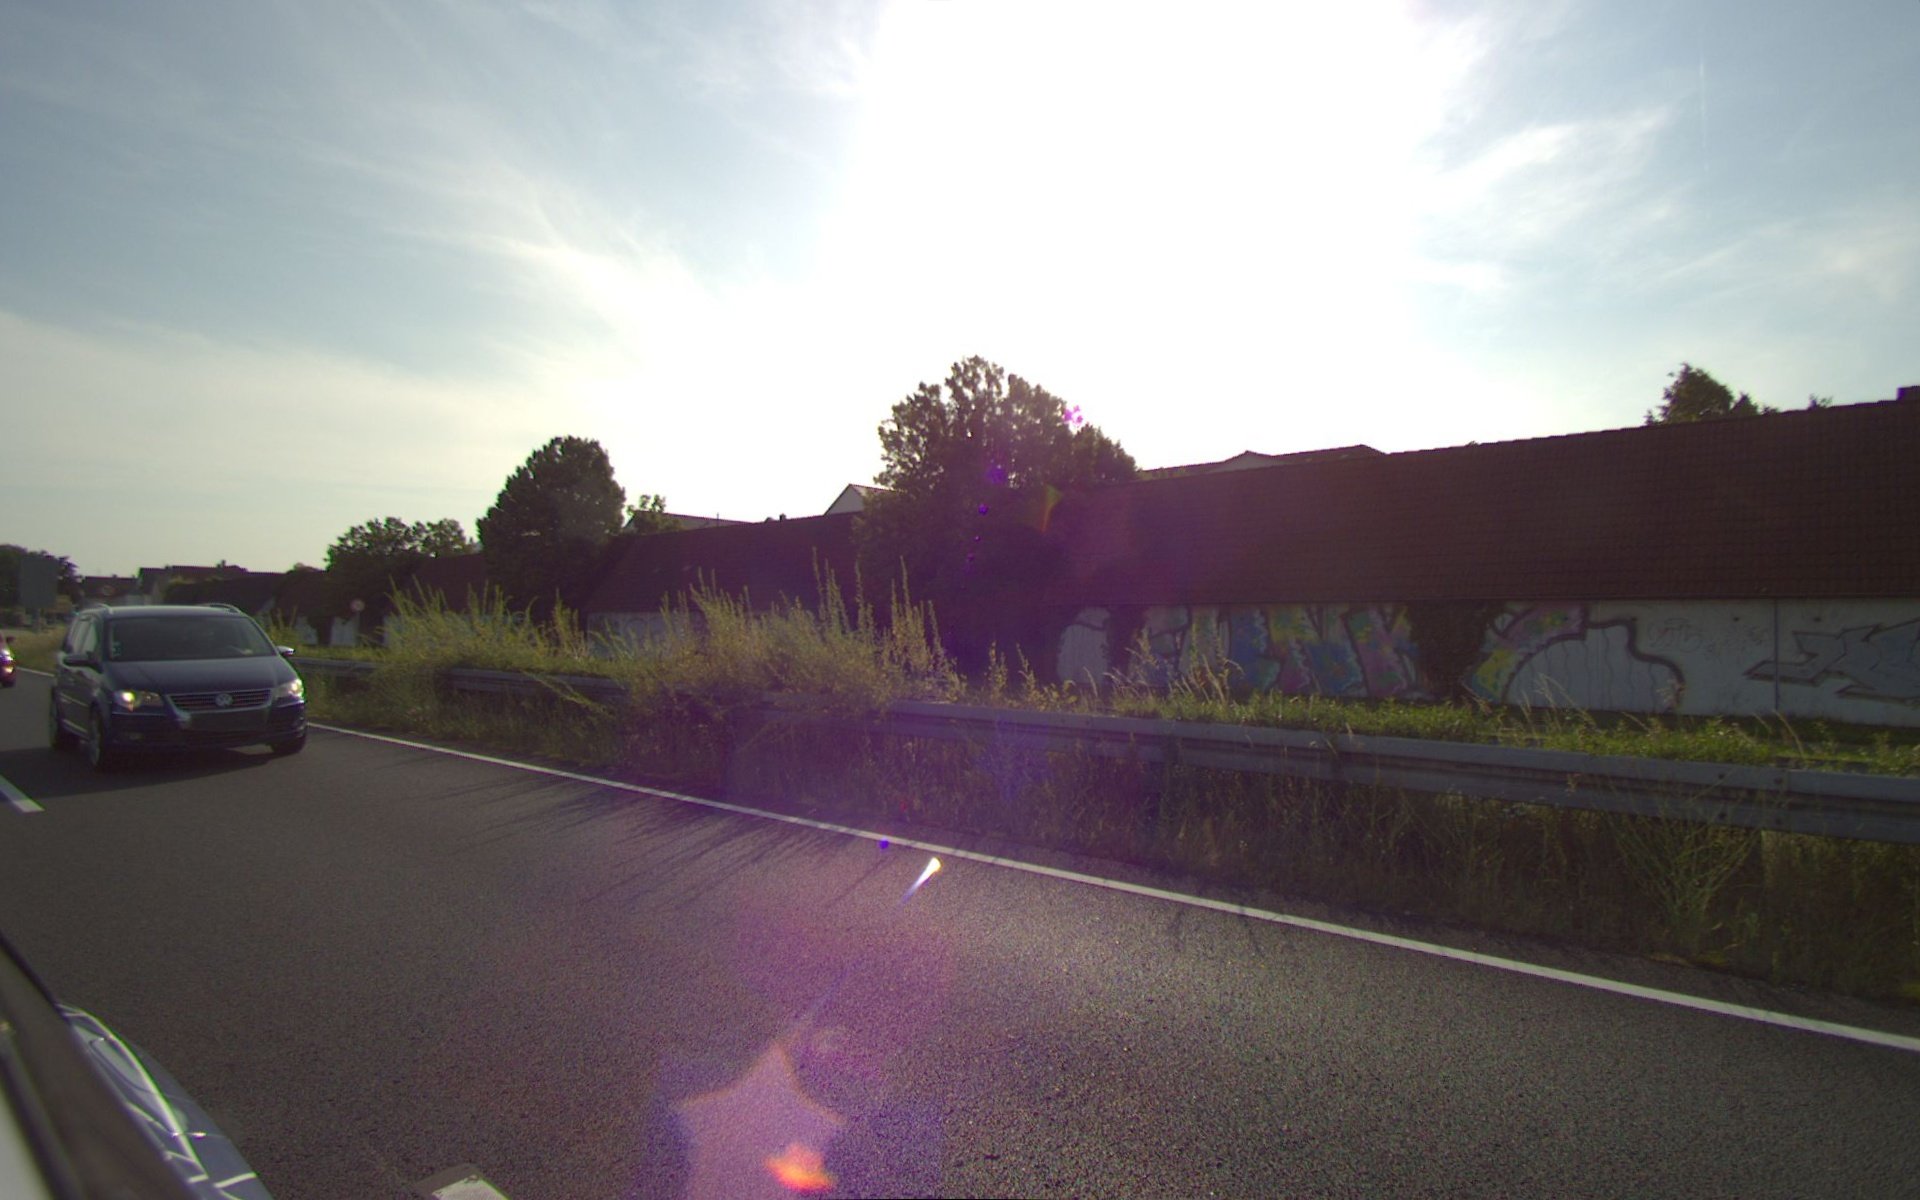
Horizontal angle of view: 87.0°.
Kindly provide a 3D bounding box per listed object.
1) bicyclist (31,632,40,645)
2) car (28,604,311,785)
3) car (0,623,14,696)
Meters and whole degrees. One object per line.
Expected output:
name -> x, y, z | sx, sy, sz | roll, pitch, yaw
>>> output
bicyclist -> -134.015, 5.553, 146.659 | 0.844, 1.800, 0.848 | 4, -3, -40
car -> -9.023, 0.864, 11.385 | 4.681, 1.633, 1.753 | 0, 0, 42
car -> -23.188, 1.353, 23.296 | 3.999, 1.557, 1.725 | 0, 0, 42
